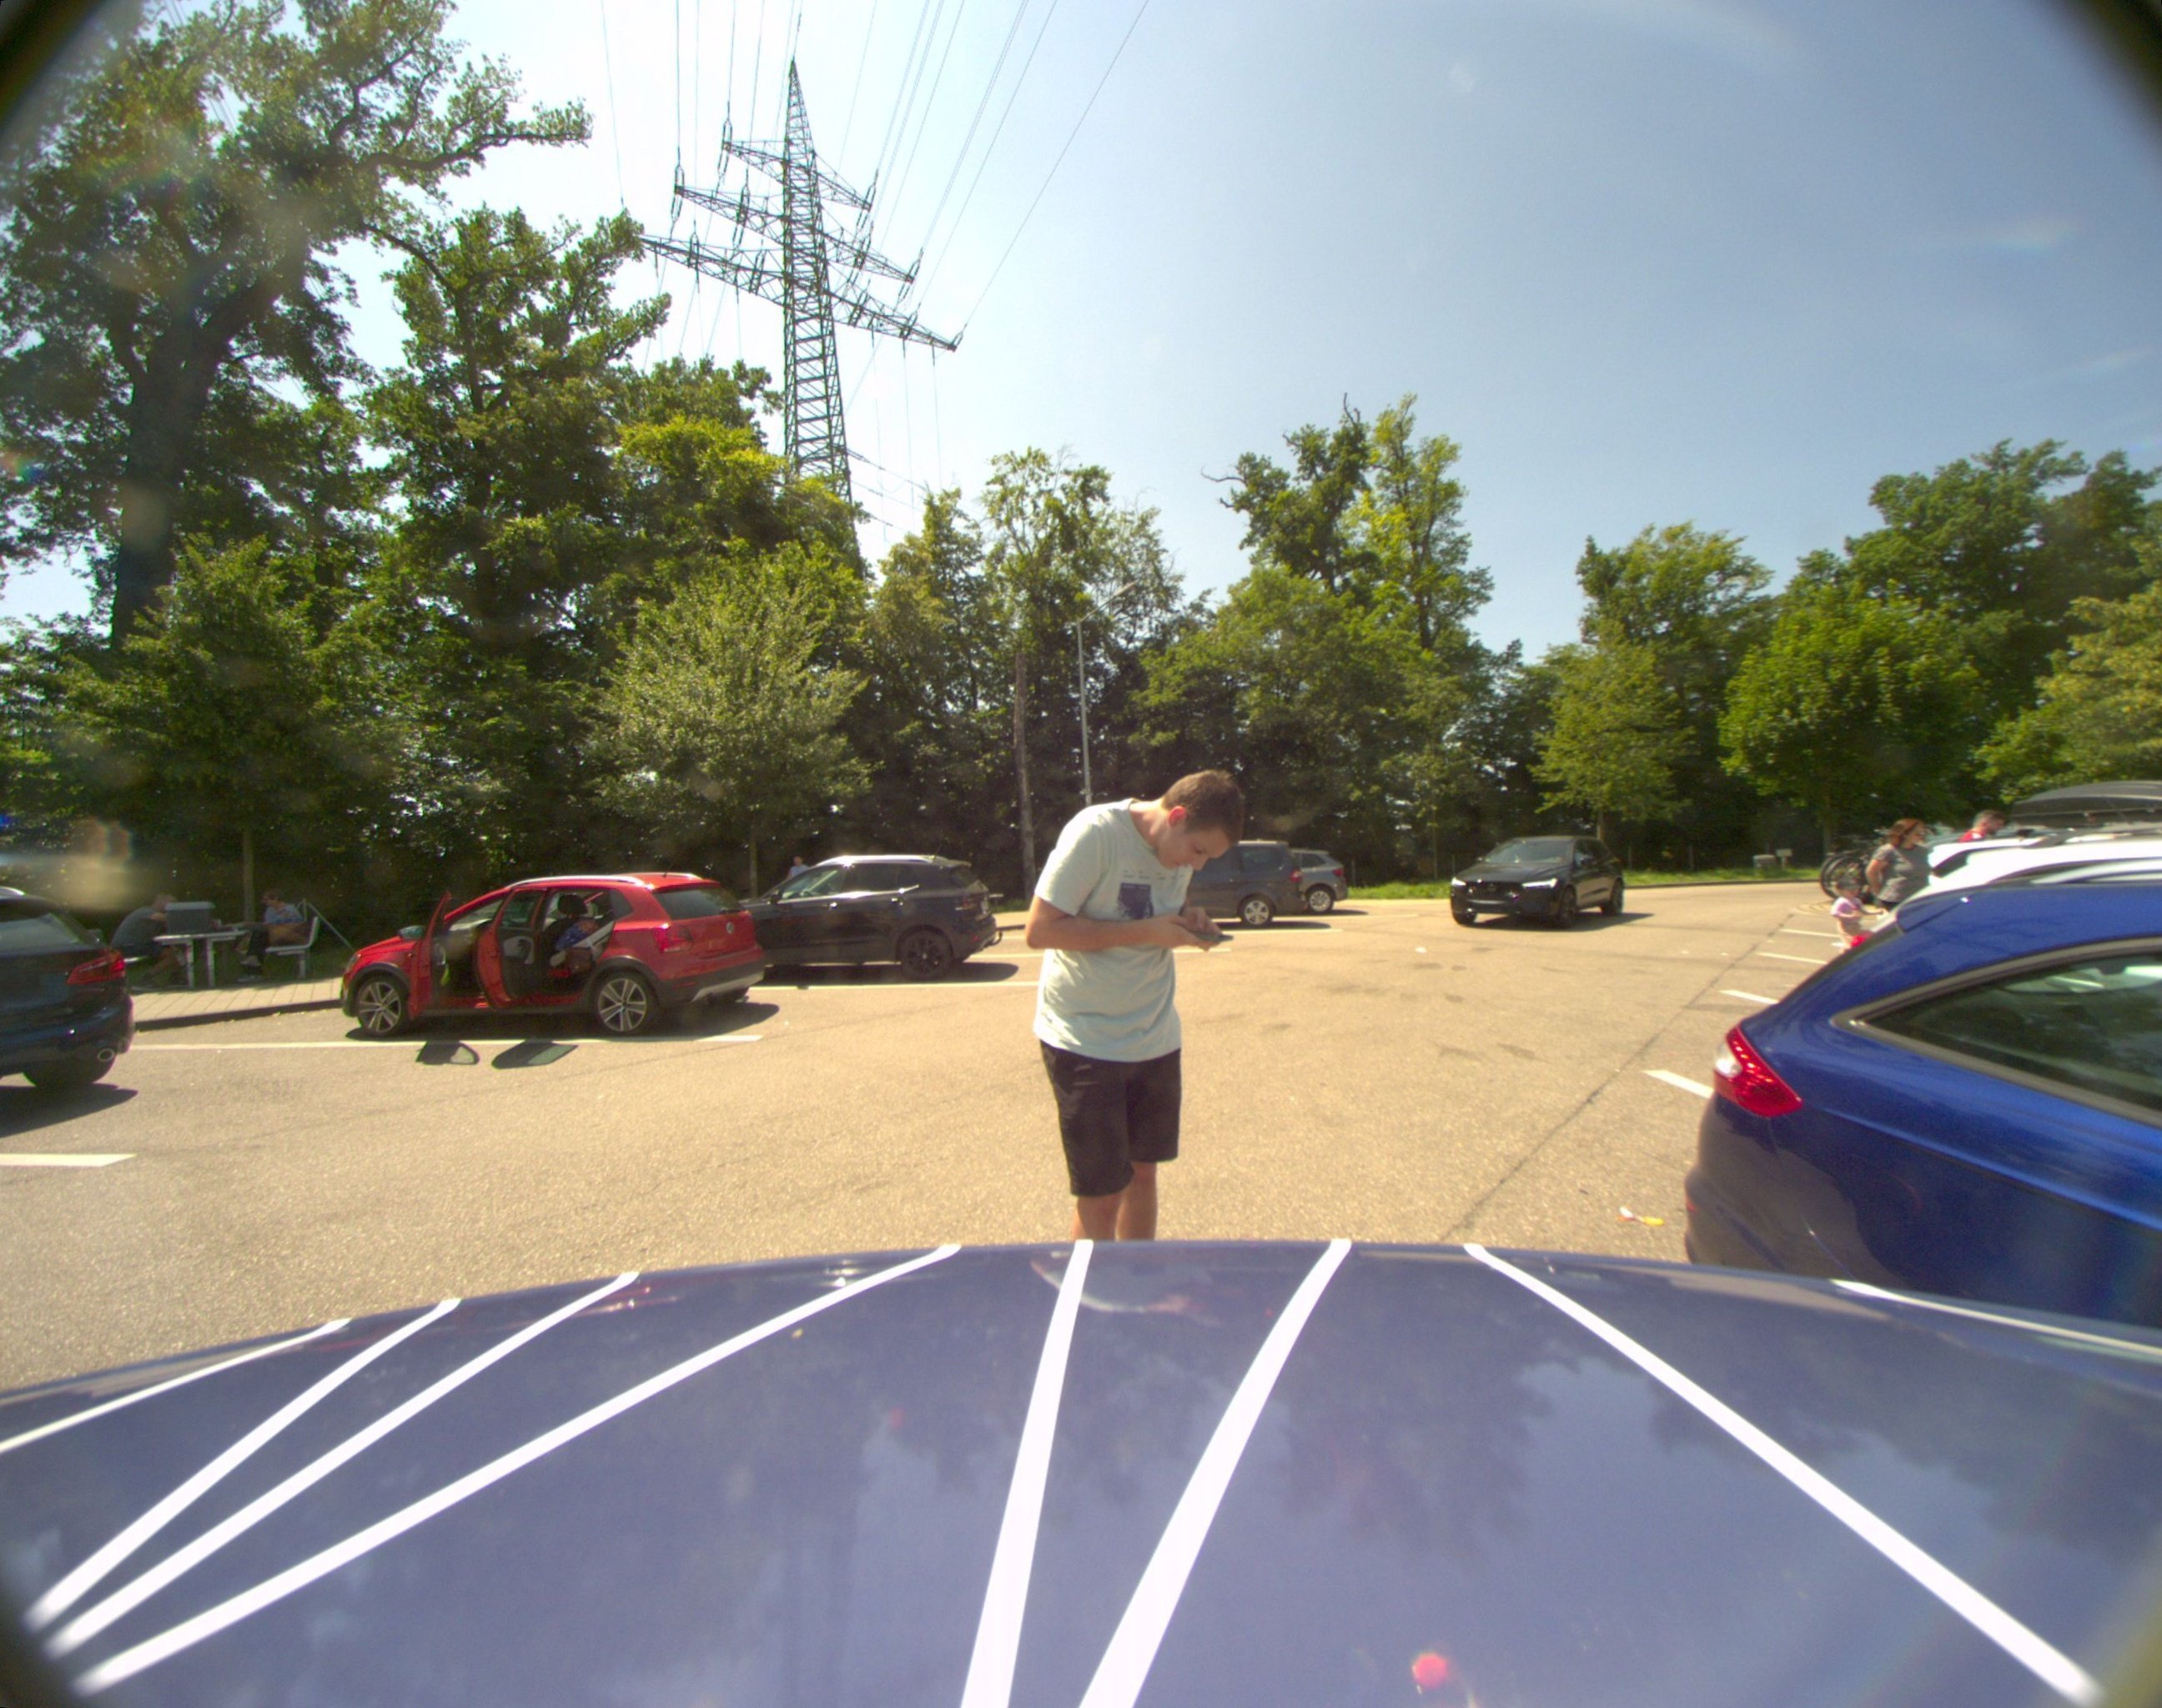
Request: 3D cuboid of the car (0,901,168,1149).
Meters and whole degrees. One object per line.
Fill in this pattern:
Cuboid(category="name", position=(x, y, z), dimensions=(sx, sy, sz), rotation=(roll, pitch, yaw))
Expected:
Cuboid(category="car", position=(-8.878, 1.172, 4.983), dimensions=(3.934, 1.534, 1.812), rotation=(-2, 0, 7))

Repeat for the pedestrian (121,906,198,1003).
Cuboid(category="pedestrian", position=(-12.626, 1.352, 10.429), dimensions=(0.695, 1.228, 0.588), rotation=(-3, 0, 43))

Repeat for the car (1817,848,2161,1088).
Cuboid(category="car", position=(7.482, 0.678, 4.505), dimensions=(1.776, 1.418, 4.495), rotation=(-3, -1, -1))

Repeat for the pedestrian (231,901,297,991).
Cuboid(category="pedestrian", position=(-11.945, 1.319, 11.118), dimensions=(0.695, 1.228, 0.588), rotation=(-3, 0, 43))

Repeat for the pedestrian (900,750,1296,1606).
Cuboid(category="pedestrian", position=(0.018, 0.736, 2.116), dimensions=(0.861, 1.940, 0.688), rotation=(-2, 1, -7))

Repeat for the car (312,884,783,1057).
Cuboid(category="car", position=(-5.183, 1.100, 7.628), dimensions=(3.730, 1.440, 1.591), rotation=(-2, 0, 7))

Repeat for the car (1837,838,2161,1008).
Cuboid(category="car", position=(10.115, 0.575, 6.892), dimensions=(1.777, 1.418, 4.493), rotation=(-3, -1, -5))

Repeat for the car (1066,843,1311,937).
Cuboid(category="car", position=(2.144, 0.720, 15.463), dimensions=(4.619, 1.701, 1.740), rotation=(-2, 0, 9))

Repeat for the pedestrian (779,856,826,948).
Cuboid(category="pedestrian", position=(-5.755, 0.969, 15.690), dimensions=(0.767, 1.821, 0.519), rotation=(-3, 1, -30))

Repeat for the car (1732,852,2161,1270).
Cuboid(category="car", position=(4.879, 0.746, 2.346), dimensions=(1.776, 1.491, 4.495), rotation=(-3, -1, -1))

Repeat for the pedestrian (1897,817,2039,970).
Cuboid(category="pedestrian", position=(10.422, 0.454, 8.960), dimensions=(0.832, 1.722, 0.676), rotation=(-2, 0, 15))

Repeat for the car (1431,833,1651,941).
Cuboid(category="car", position=(8.899, 0.511, 14.562), dimensions=(4.625, 1.703, 1.995), rotation=(-2, 1, -37))

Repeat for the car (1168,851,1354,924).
Cuboid(category="car", position=(4.148, 0.751, 18.002), dimensions=(3.996, 1.495, 1.687), rotation=(-2, 1, 3))

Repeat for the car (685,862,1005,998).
Cuboid(category="car", position=(-3.027, 0.958, 10.306), dimensions=(3.732, 1.578, 1.739), rotation=(-2, 0, 2))

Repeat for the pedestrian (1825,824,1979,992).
Cuboid(category="pedestrian", position=(8.588, 0.538, 7.982), dimensions=(0.675, 1.653, 0.833), rotation=(-2, 0, -2))

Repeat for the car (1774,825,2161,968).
Cuboid(category="car", position=(12.546, 0.481, 10.364), dimensions=(1.777, 1.541, 4.493), rotation=(-3, -1, -5))
